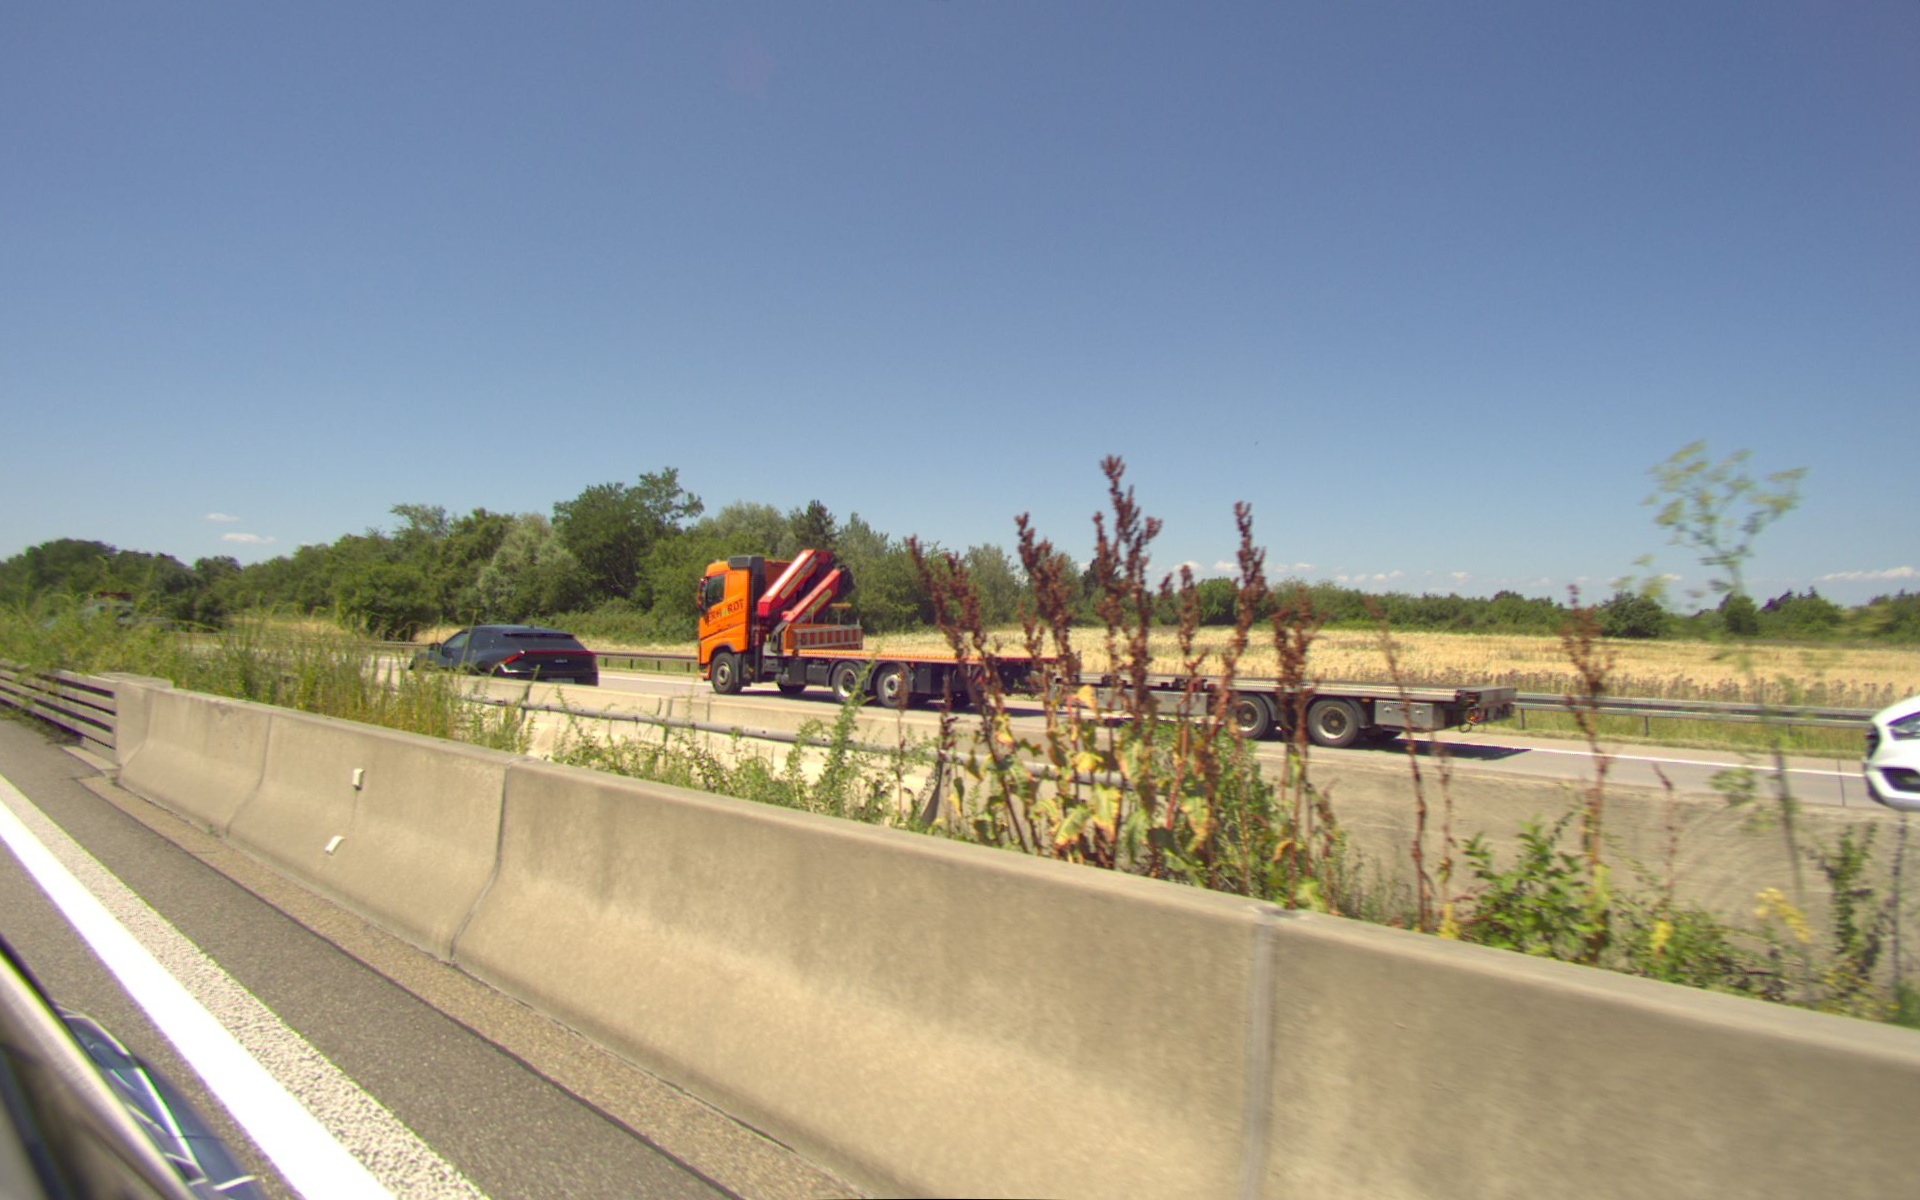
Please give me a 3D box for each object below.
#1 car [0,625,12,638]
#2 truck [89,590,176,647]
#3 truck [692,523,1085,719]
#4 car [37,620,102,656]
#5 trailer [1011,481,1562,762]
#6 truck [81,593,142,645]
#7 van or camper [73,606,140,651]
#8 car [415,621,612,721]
[{"bbox_3d":[-106.903,3.474,112.543,3.675,1.462,1.715,-1,-3,41],"label":"car"},{"bbox_3d":[-64.149,1.479,78.277,13.514,4.045,2.732,-1,-4,41],"label":"truck"},{"bbox_3d":[-2.102,0.535,23.421,10.184,3.689,2.624,-1,-4,41],"label":"truck"},{"bbox_3d":[-43.109,1.823,48.982,4.122,1.666,1.780,-1,-4,41],"label":"car"},{"bbox_3d":[5.034,0.398,17.115,8.532,3.689,2.624,-1,-4,41],"label":"trailer"},{"bbox_3d":[-69.656,1.588,83.045,5.747,4.045,2.732,-1,-4,41],"label":"truck"},{"bbox_3d":[-53.059,1.764,62.889,5.869,2.608,2.148,-1,-3,41],"label":"van or camper"},{"bbox_3d":[-8.018,1.200,18.065,3.816,1.591,1.748,-1,-3,41],"label":"car"}]
